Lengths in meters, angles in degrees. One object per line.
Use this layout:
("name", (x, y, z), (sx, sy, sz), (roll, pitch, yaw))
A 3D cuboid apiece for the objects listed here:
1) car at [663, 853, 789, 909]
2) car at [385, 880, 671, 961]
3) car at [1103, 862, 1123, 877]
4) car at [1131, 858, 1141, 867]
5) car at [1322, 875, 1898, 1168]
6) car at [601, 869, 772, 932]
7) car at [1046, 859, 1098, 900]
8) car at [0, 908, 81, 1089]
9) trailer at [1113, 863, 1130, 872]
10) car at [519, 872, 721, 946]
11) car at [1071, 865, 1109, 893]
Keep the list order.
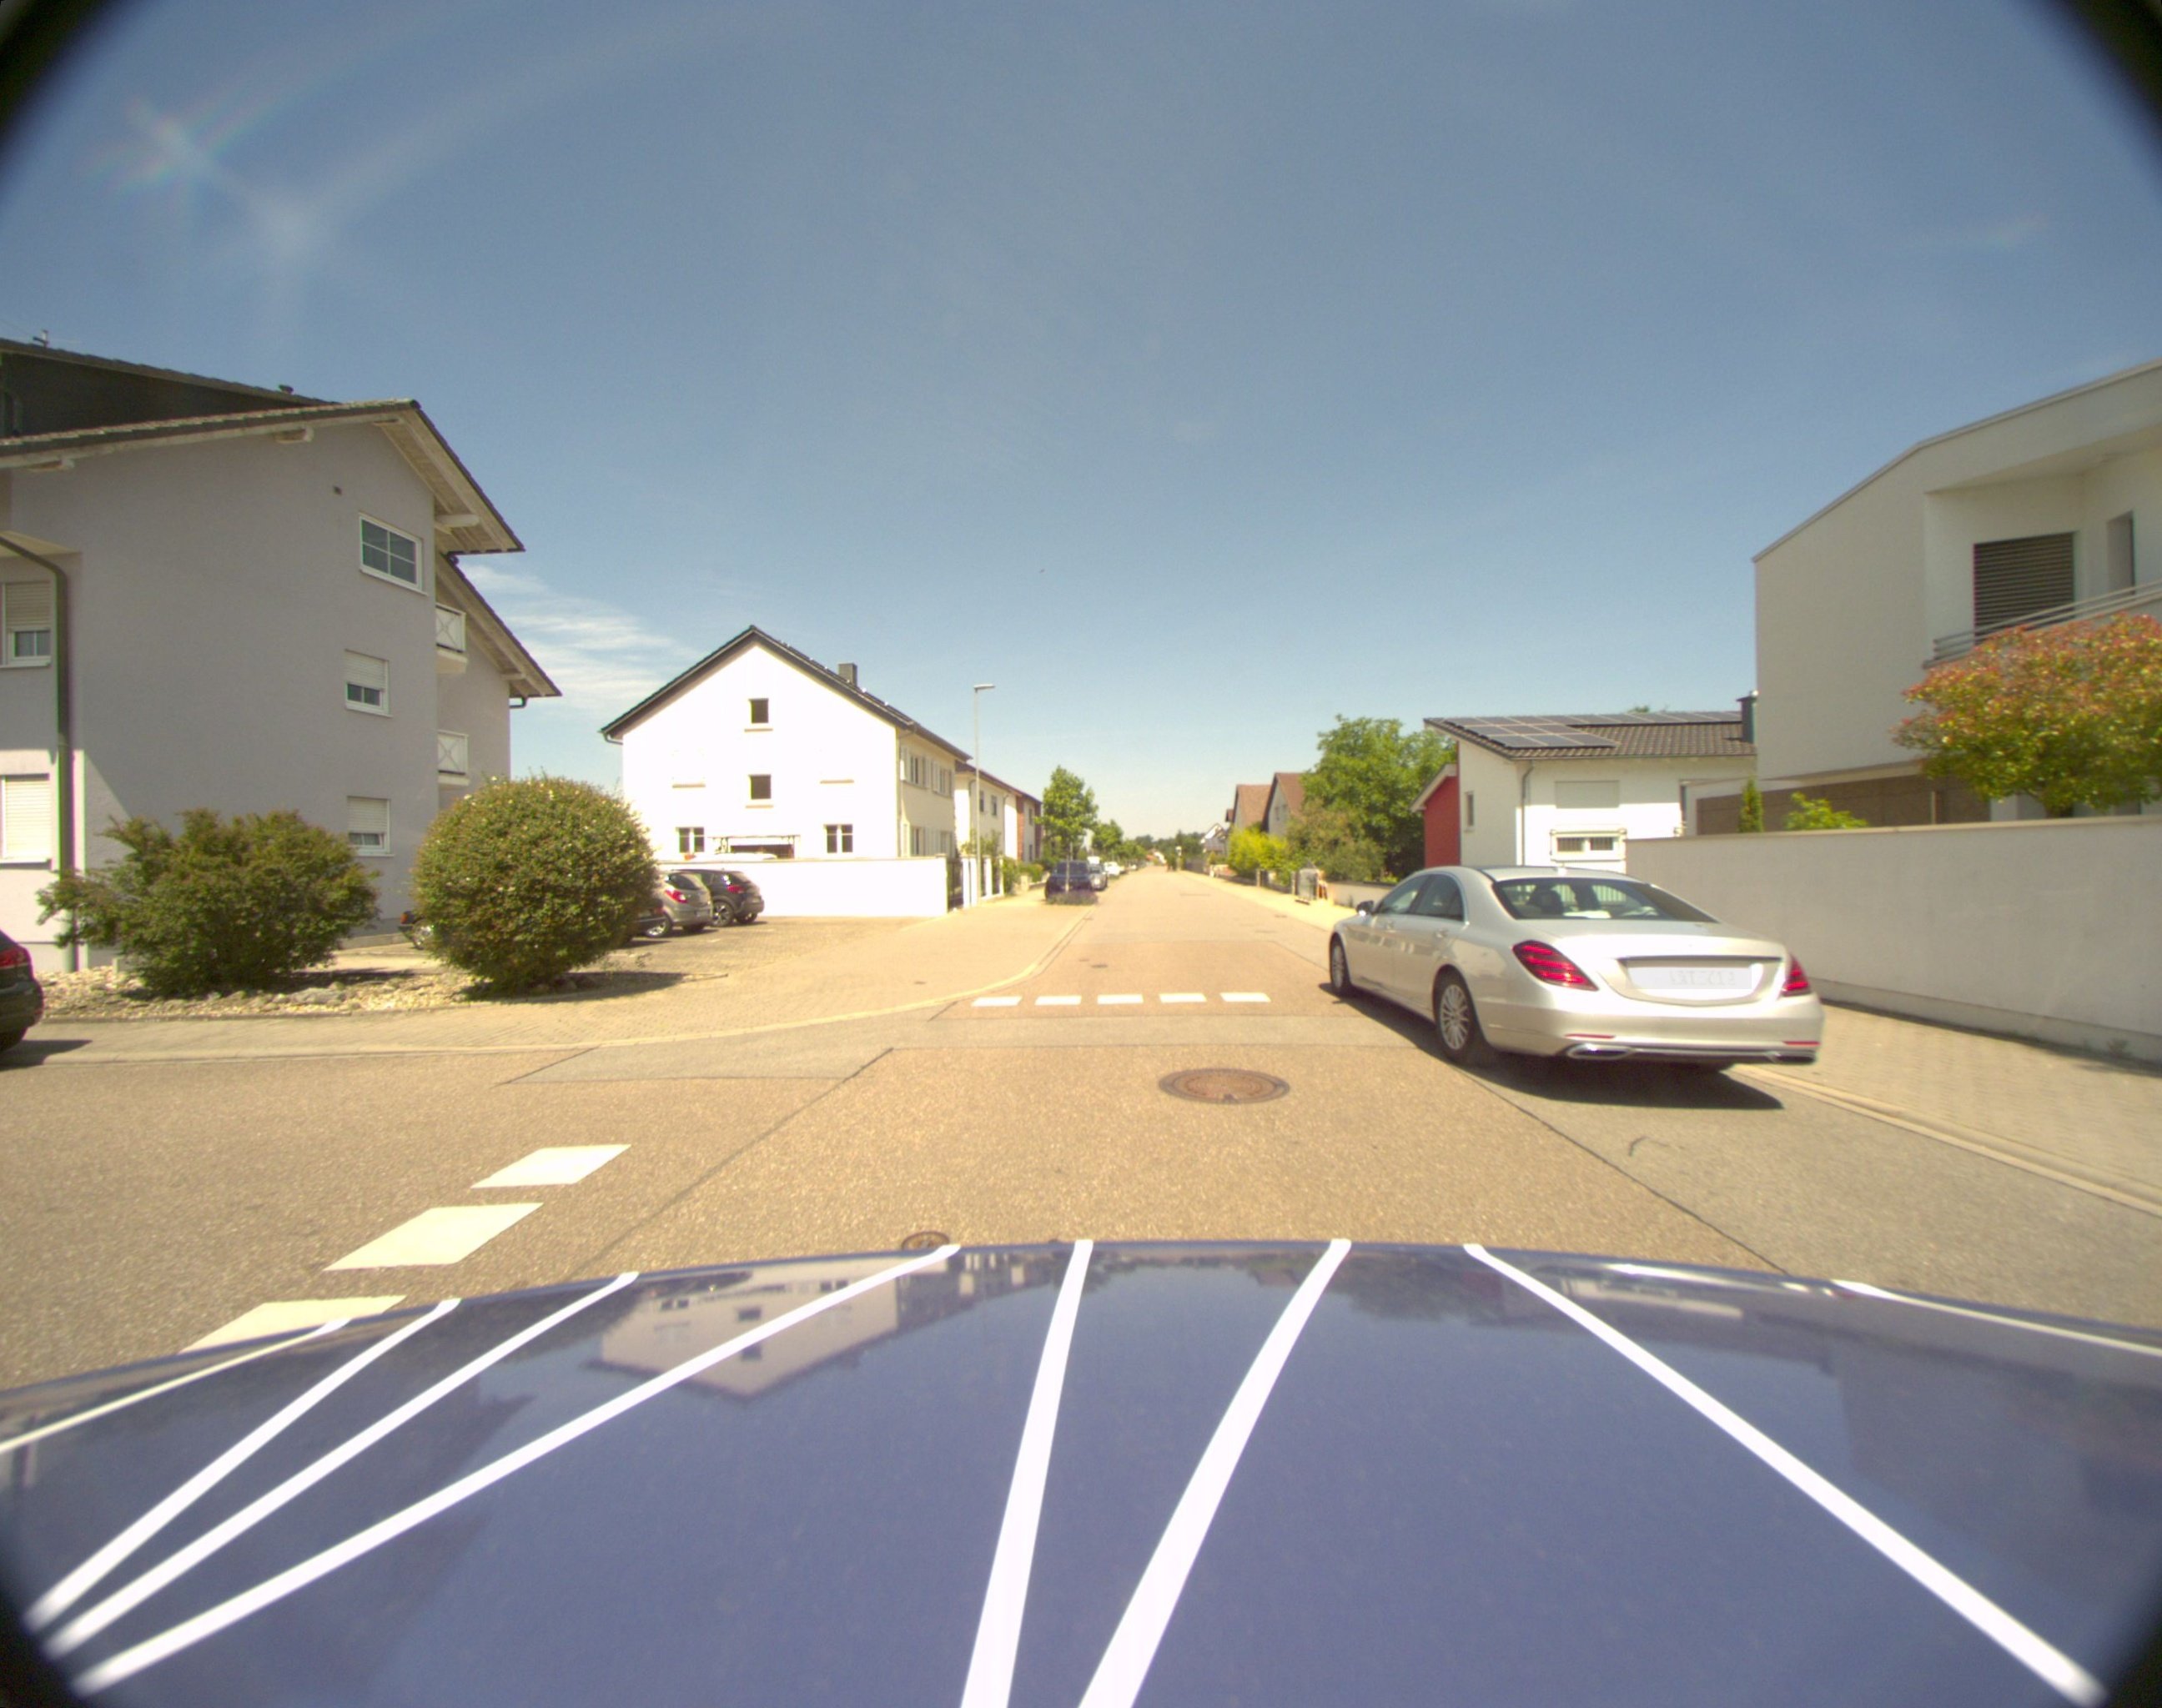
("car", (-11.908, 0.891, 25.612), (3.394, 1.801, 1.772), (-1, 0, 3))
("car", (-10.358, 1.215, 14.447), (4.211, 1.366, 1.664), (-1, 0, 1))
("car", (3.181, 1.548, 75.378), (1.818, 1.411, 3.869), (-1, 0, 4))
("car", (10.361, 1.589, 144.080), (1.597, 1.630, 3.805), (-1, 0, 8))
("car", (3.674, 0.995, 6.581), (1.857, 1.469, 4.701), (1, 0, 3))
("car", (-10.017, 1.162, 19.484), (3.509, 1.487, 1.664), (-1, 0, -2))
("car", (-0.310, 1.087, 33.234), (1.818, 1.646, 4.566), (-1, -1, 5))
("car", (-10.915, 1.234, 5.781), (4.003, 1.459, 1.755), (-1, 0, -5))
("trailer", (4.823, 1.592, 90.078), (1.791, 1.052, 2.900), (-1, 0, 6))
("car", (-10.109, 1.178, 16.851), (3.453, 1.486, 1.664), (-1, 0, 1))
("car", (0.529, 1.378, 42.692), (1.818, 1.411, 4.094), (-1, 0, 5))
